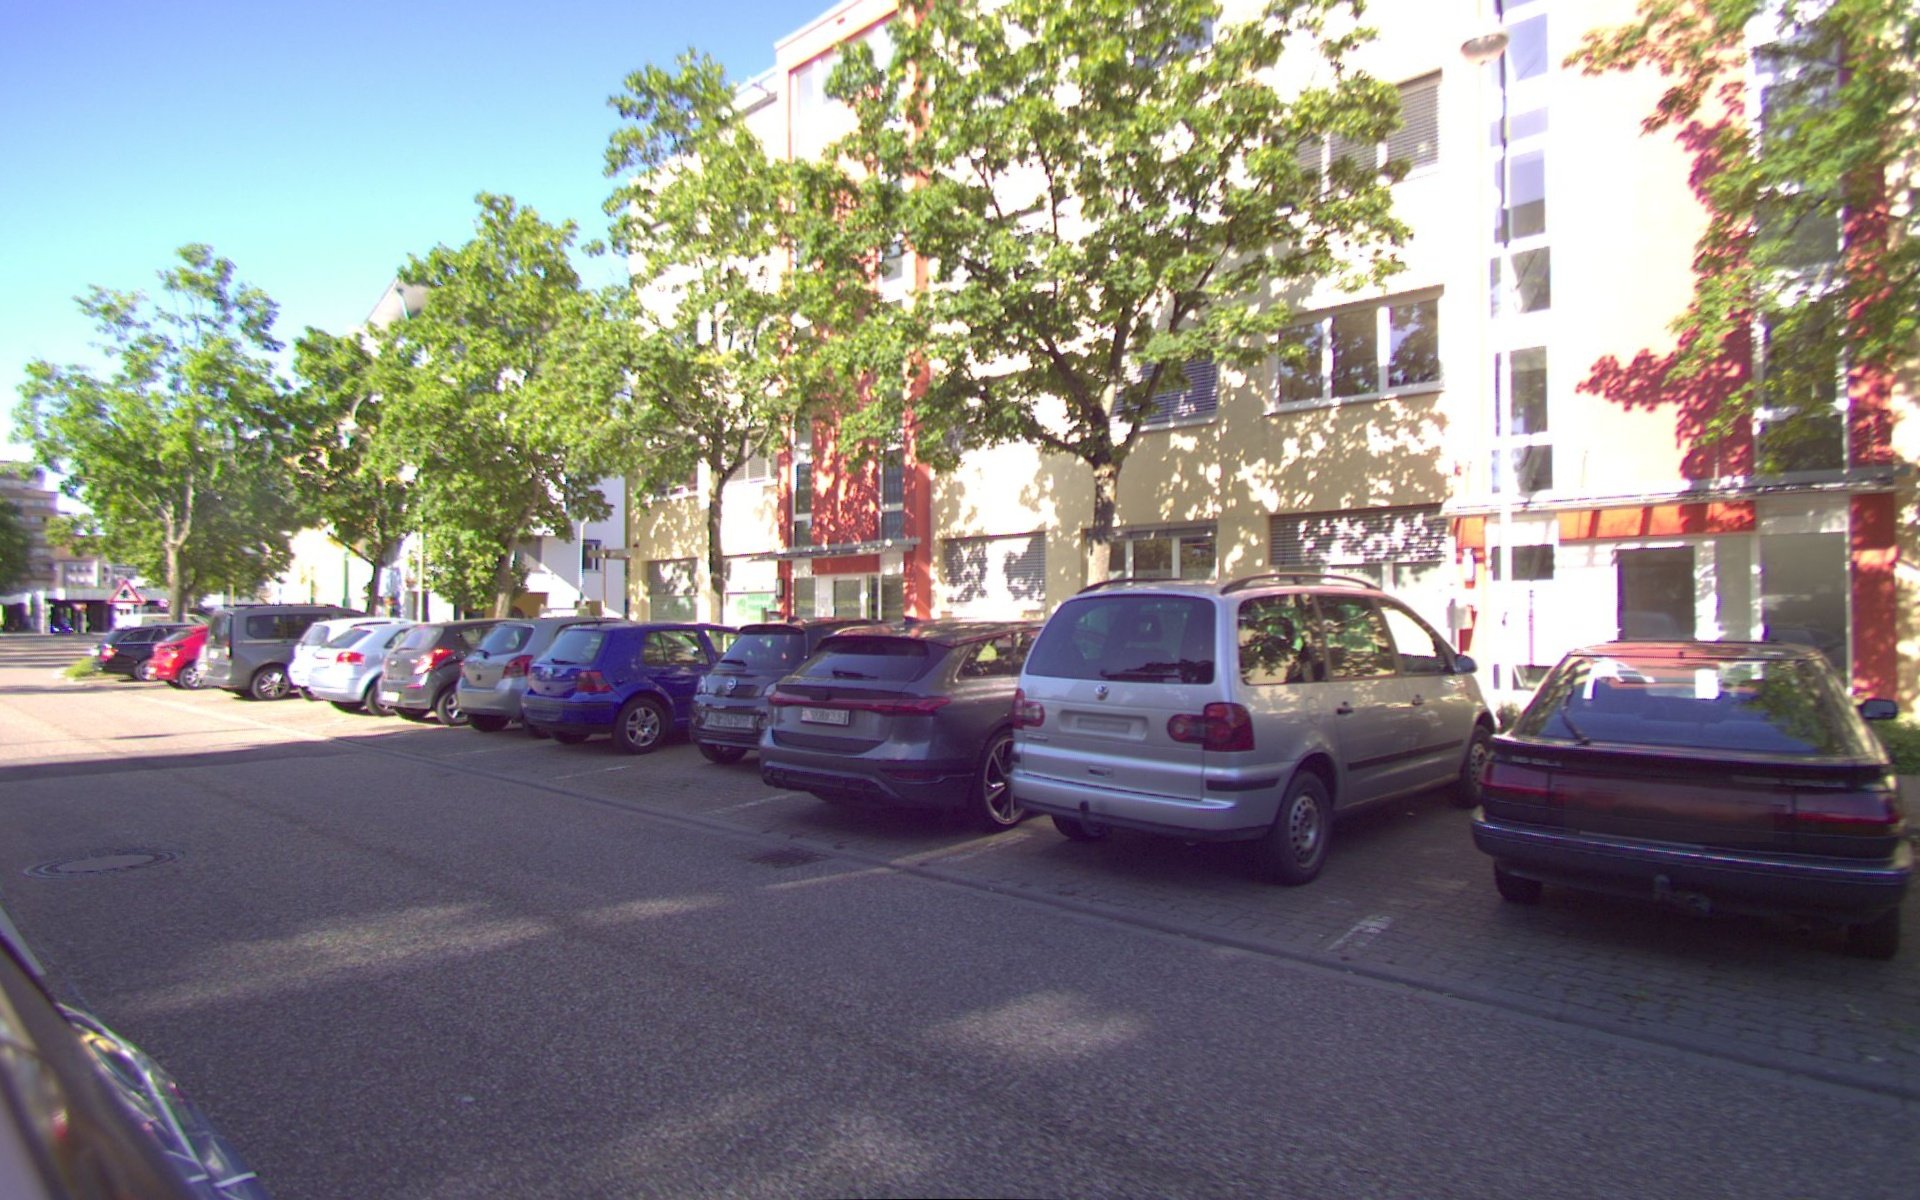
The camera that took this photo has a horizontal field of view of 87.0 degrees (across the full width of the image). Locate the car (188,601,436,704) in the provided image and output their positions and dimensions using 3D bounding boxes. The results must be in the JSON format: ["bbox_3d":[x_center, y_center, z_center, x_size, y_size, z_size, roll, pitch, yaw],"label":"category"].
[{"bbox_3d":[-12.933,0.966,20.365,1.785,1.825,3.851,-1,0,41],"label":"car"}]

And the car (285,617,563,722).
[{"bbox_3d":[-8.903,1.076,17.032,1.873,1.458,3.691,-1,0,37],"label":"car"}]

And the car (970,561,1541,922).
[{"bbox_3d":[2.281,0.663,7.058,4.271,1.730,1.964,-1,0,-44],"label":"car"}]

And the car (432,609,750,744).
[{"bbox_3d":[-4.966,0.936,13.964,1.858,1.520,3.689,-1,0,40],"label":"car"}]

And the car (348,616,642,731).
[{"bbox_3d":[-7.051,1.022,15.631,1.857,1.458,3.691,-1,0,37],"label":"car"}]

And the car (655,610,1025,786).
[{"bbox_3d":[-1.119,0.878,10.723,1.771,1.438,3.689,-1,0,40],"label":"car"}]

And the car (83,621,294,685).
[{"bbox_3d":[-20.184,1.322,26.592,1.740,1.434,4.215,-1,0,44],"label":"car"}]

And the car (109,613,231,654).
[{"bbox_3d":[-40.784,1.683,52.383,1.983,2.000,4.743,-2,-1,17],"label":"car"}]

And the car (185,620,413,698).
[{"bbox_3d":[-14.328,1.208,22.095,1.738,1.434,3.851,-1,0,41],"label":"car"}]

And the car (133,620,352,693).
[{"bbox_3d":[-16.534,1.249,23.447,1.738,1.434,3.851,-1,0,41],"label":"car"}]

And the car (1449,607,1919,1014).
[{"bbox_3d":[4.270,0.771,5.673,1.756,1.369,4.277,-1,0,40],"label":"car"}]

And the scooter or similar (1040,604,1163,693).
[{"bbox_3d":[2.424,0.840,17.586,2.108,1.457,0.647,-2,-3,41],"label":"scooter or similar"}]

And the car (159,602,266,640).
[{"bbox_3d":[-50.441,1.369,68.457,2.175,2.455,5.456,-2,-1,26],"label":"car"}]

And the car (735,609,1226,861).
[{"bbox_3d":[0.445,0.844,8.382,1.771,1.438,4.360,-1,0,39],"label":"car"}]

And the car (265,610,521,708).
[{"bbox_3d":[-10.684,1.038,19.269,1.858,1.586,3.851,-1,0,41],"label":"car"}]

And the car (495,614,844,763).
[{"bbox_3d":[-3.404,0.938,12.351,1.839,1.438,3.689,-1,0,40],"label":"car"}]
